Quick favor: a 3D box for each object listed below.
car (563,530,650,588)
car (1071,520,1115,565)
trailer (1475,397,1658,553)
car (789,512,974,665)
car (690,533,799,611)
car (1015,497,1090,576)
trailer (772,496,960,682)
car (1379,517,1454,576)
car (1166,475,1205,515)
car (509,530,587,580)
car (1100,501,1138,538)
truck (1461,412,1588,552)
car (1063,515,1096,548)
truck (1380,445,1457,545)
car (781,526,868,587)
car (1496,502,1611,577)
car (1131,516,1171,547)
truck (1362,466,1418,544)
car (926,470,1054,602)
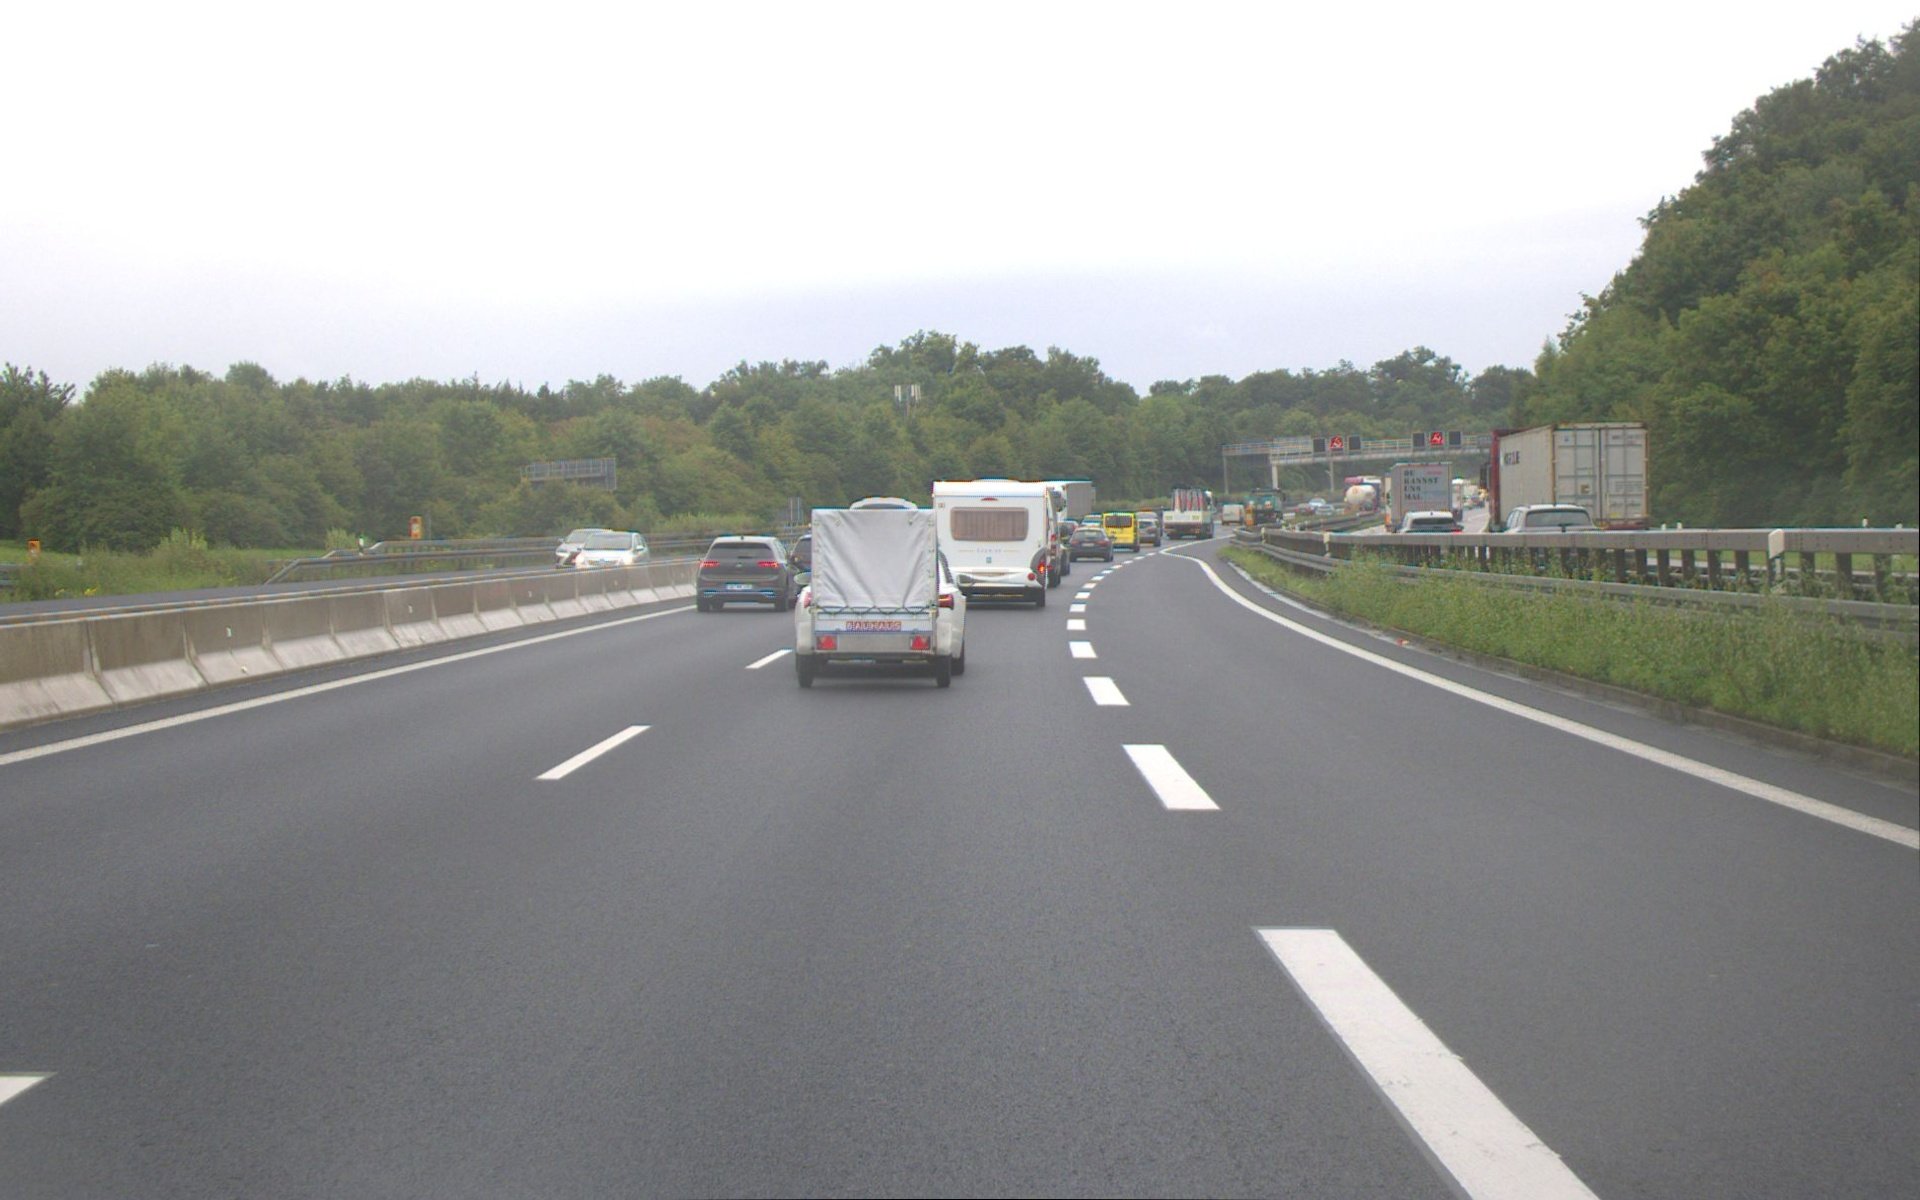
[{"bbox_3d":[-10.703,-1.254,104.249,1.994,1.705,4.303,-1,1,3],"label":"car"},{"bbox_3d":[5.484,-2.366,142.084,1.676,1.806,4.000,-1,1,0],"label":"car"},{"bbox_3d":[16.155,-3.225,92.524,2.604,3.881,12.491,-1,1,0],"label":"trailer"},{"bbox_3d":[-0.823,-0.151,38.902,1.818,1.610,4.777,-1,1,2],"label":"car"},{"bbox_3d":[-4.180,-0.559,67.311,1.676,1.451,4.000,-1,1,3],"label":"car"},{"bbox_3d":[2.501,-1.704,92.395,1.676,2.060,3.999,-1,1,6],"label":"car"},{"bbox_3d":[-0.923,-0.133,35.624,1.676,1.806,4.000,-1,1,2],"label":"trailer"},{"bbox_3d":[12.904,-1.511,97.394,1.770,1.604,4.643,-1,1,4],"label":"car"},{"bbox_3d":[14.909,-6.925,227.177,2.516,2.566,5.311,-1,1,5],"label":"car"},{"bbox_3d":[-14.146,-1.546,118.279,1.892,1.644,4.602,-1,1,3],"label":"car"},{"bbox_3d":[7.993,-4.029,172.542,1.676,1.806,3.999,-1,1,6],"label":"car"},{"bbox_3d":[16.132,-3.317,98.639,2.616,3.871,6.392,-1,1,1],"label":"truck"},{"bbox_3d":[7.552,-4.319,216.495,1.994,2.007,4.000,-1,1,3],"label":"car"},{"bbox_3d":[22.357,-5.031,168.188,3.216,4.650,13.030,-1,1,5],"label":"truck"},{"bbox_3d":[-3.339,-1.085,85.456,1.765,1.451,4.000,-1,1,3],"label":"car"},{"bbox_3d":[11.828,-1.198,68.696,1.667,1.378,4.126,-3,1,2],"label":"car"},{"bbox_3d":[10.740,-3.842,193.172,2.038,1.677,3.999,-1,1,6],"label":"car"},{"bbox_3d":[26.944,-5.880,214.909,3.216,4.650,13.028,-1,1,8],"label":"truck"},{"bbox_3d":[0.567,-1.296,70.846,2.507,2.576,5.700,-1,1,0],"label":"car"}]
